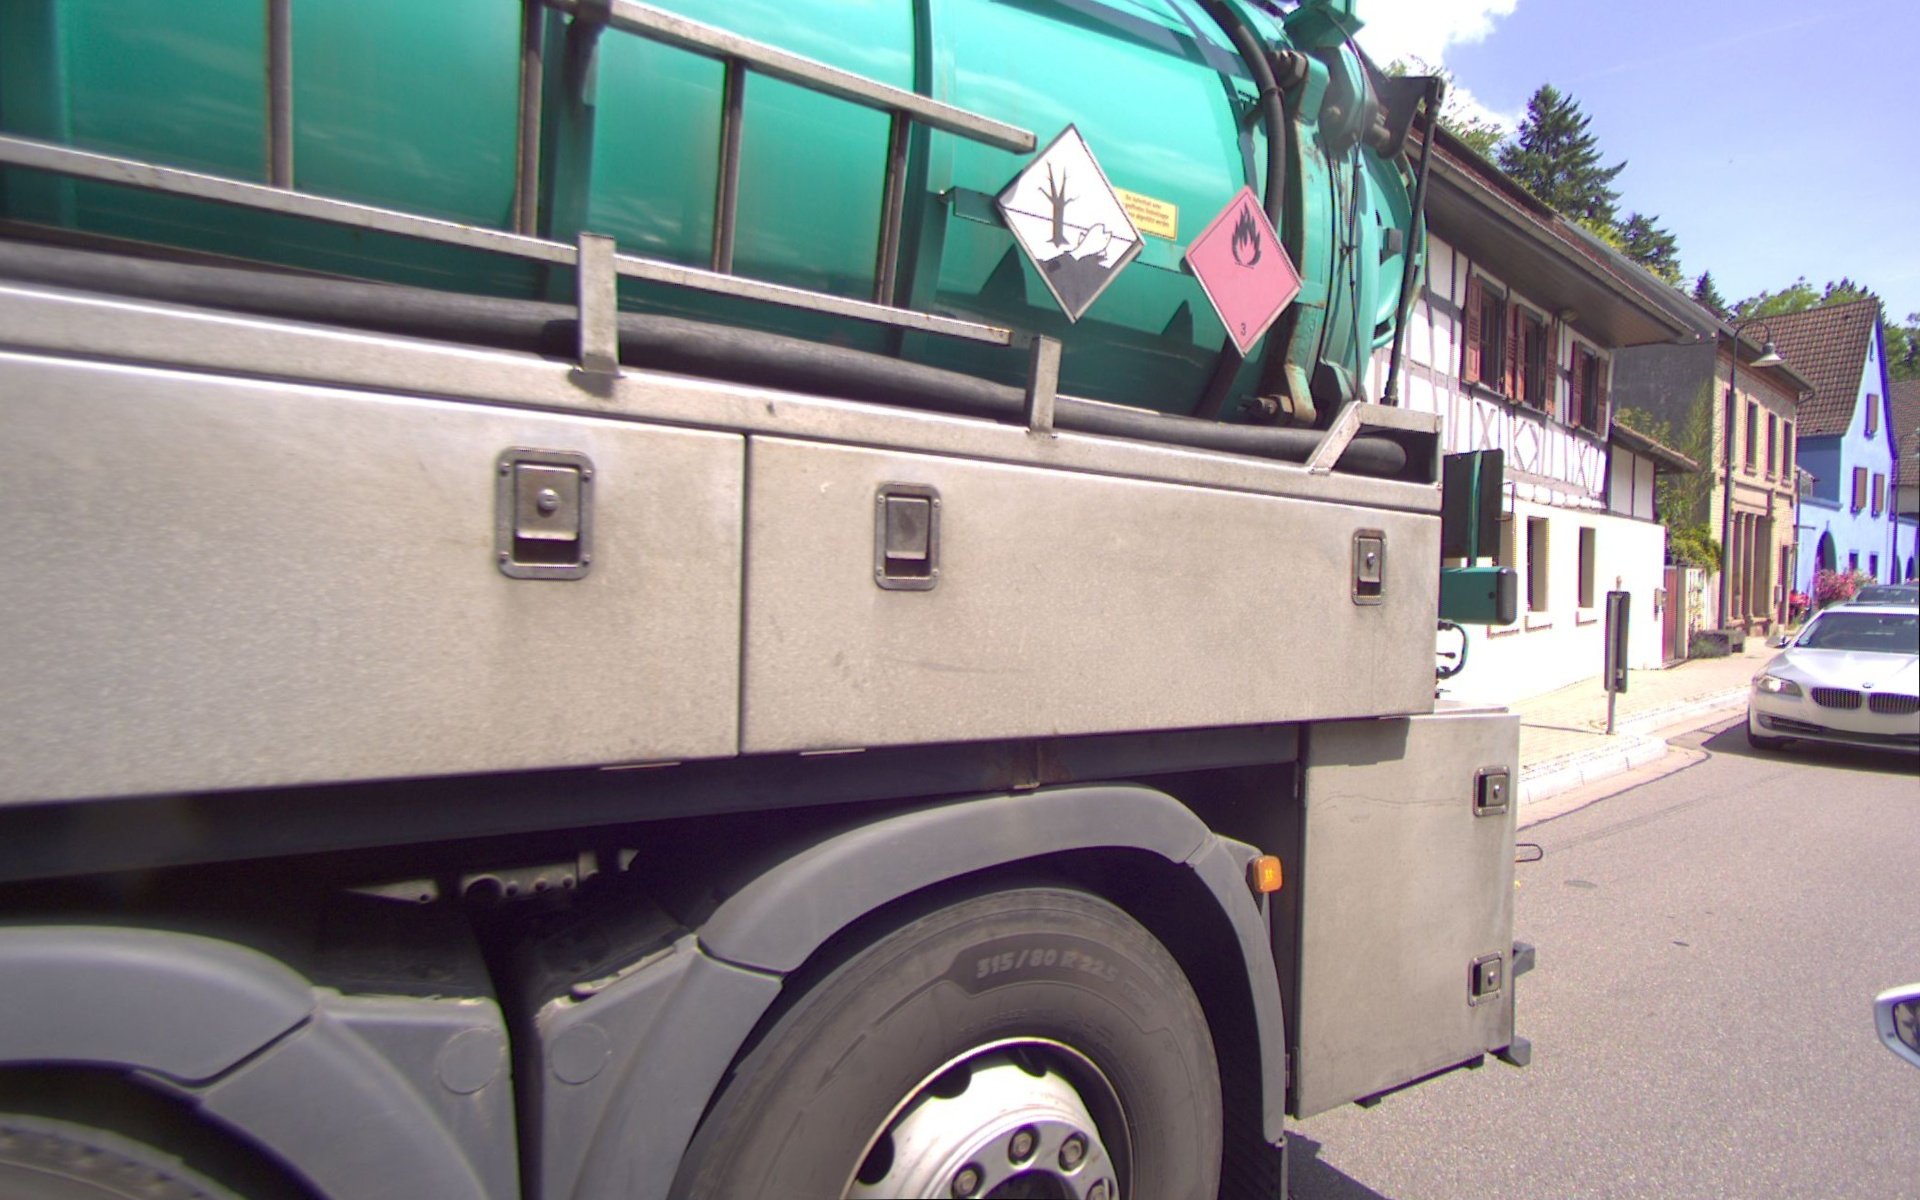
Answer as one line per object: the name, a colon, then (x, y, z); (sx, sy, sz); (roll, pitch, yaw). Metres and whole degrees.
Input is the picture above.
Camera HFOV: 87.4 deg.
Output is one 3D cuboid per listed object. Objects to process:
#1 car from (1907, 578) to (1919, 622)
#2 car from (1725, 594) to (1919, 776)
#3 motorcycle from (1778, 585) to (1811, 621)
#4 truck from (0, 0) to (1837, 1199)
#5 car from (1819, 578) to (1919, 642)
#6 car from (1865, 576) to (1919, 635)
car: (35.456, -0.033, 35.952); (3.821, 1.550, 1.704); (-2, 2, -38)
car: (9.614, 0.728, 10.430); (4.580, 1.520, 1.877); (0, 2, -43)
motorcycle: (25.002, 0.085, 30.080); (1.845, 1.014, 0.414); (-1, 7, -43)
truck: (-2.551, -0.465, 1.022); (9.456, 3.707, 2.400); (0, 0, -31)
car: (24.114, 0.218, 26.243); (4.511, 1.485, 1.939); (0, 2, -42)
car: (27.978, 0.124, 29.093); (4.628, 1.484, 1.869); (-2, 6, -40)
